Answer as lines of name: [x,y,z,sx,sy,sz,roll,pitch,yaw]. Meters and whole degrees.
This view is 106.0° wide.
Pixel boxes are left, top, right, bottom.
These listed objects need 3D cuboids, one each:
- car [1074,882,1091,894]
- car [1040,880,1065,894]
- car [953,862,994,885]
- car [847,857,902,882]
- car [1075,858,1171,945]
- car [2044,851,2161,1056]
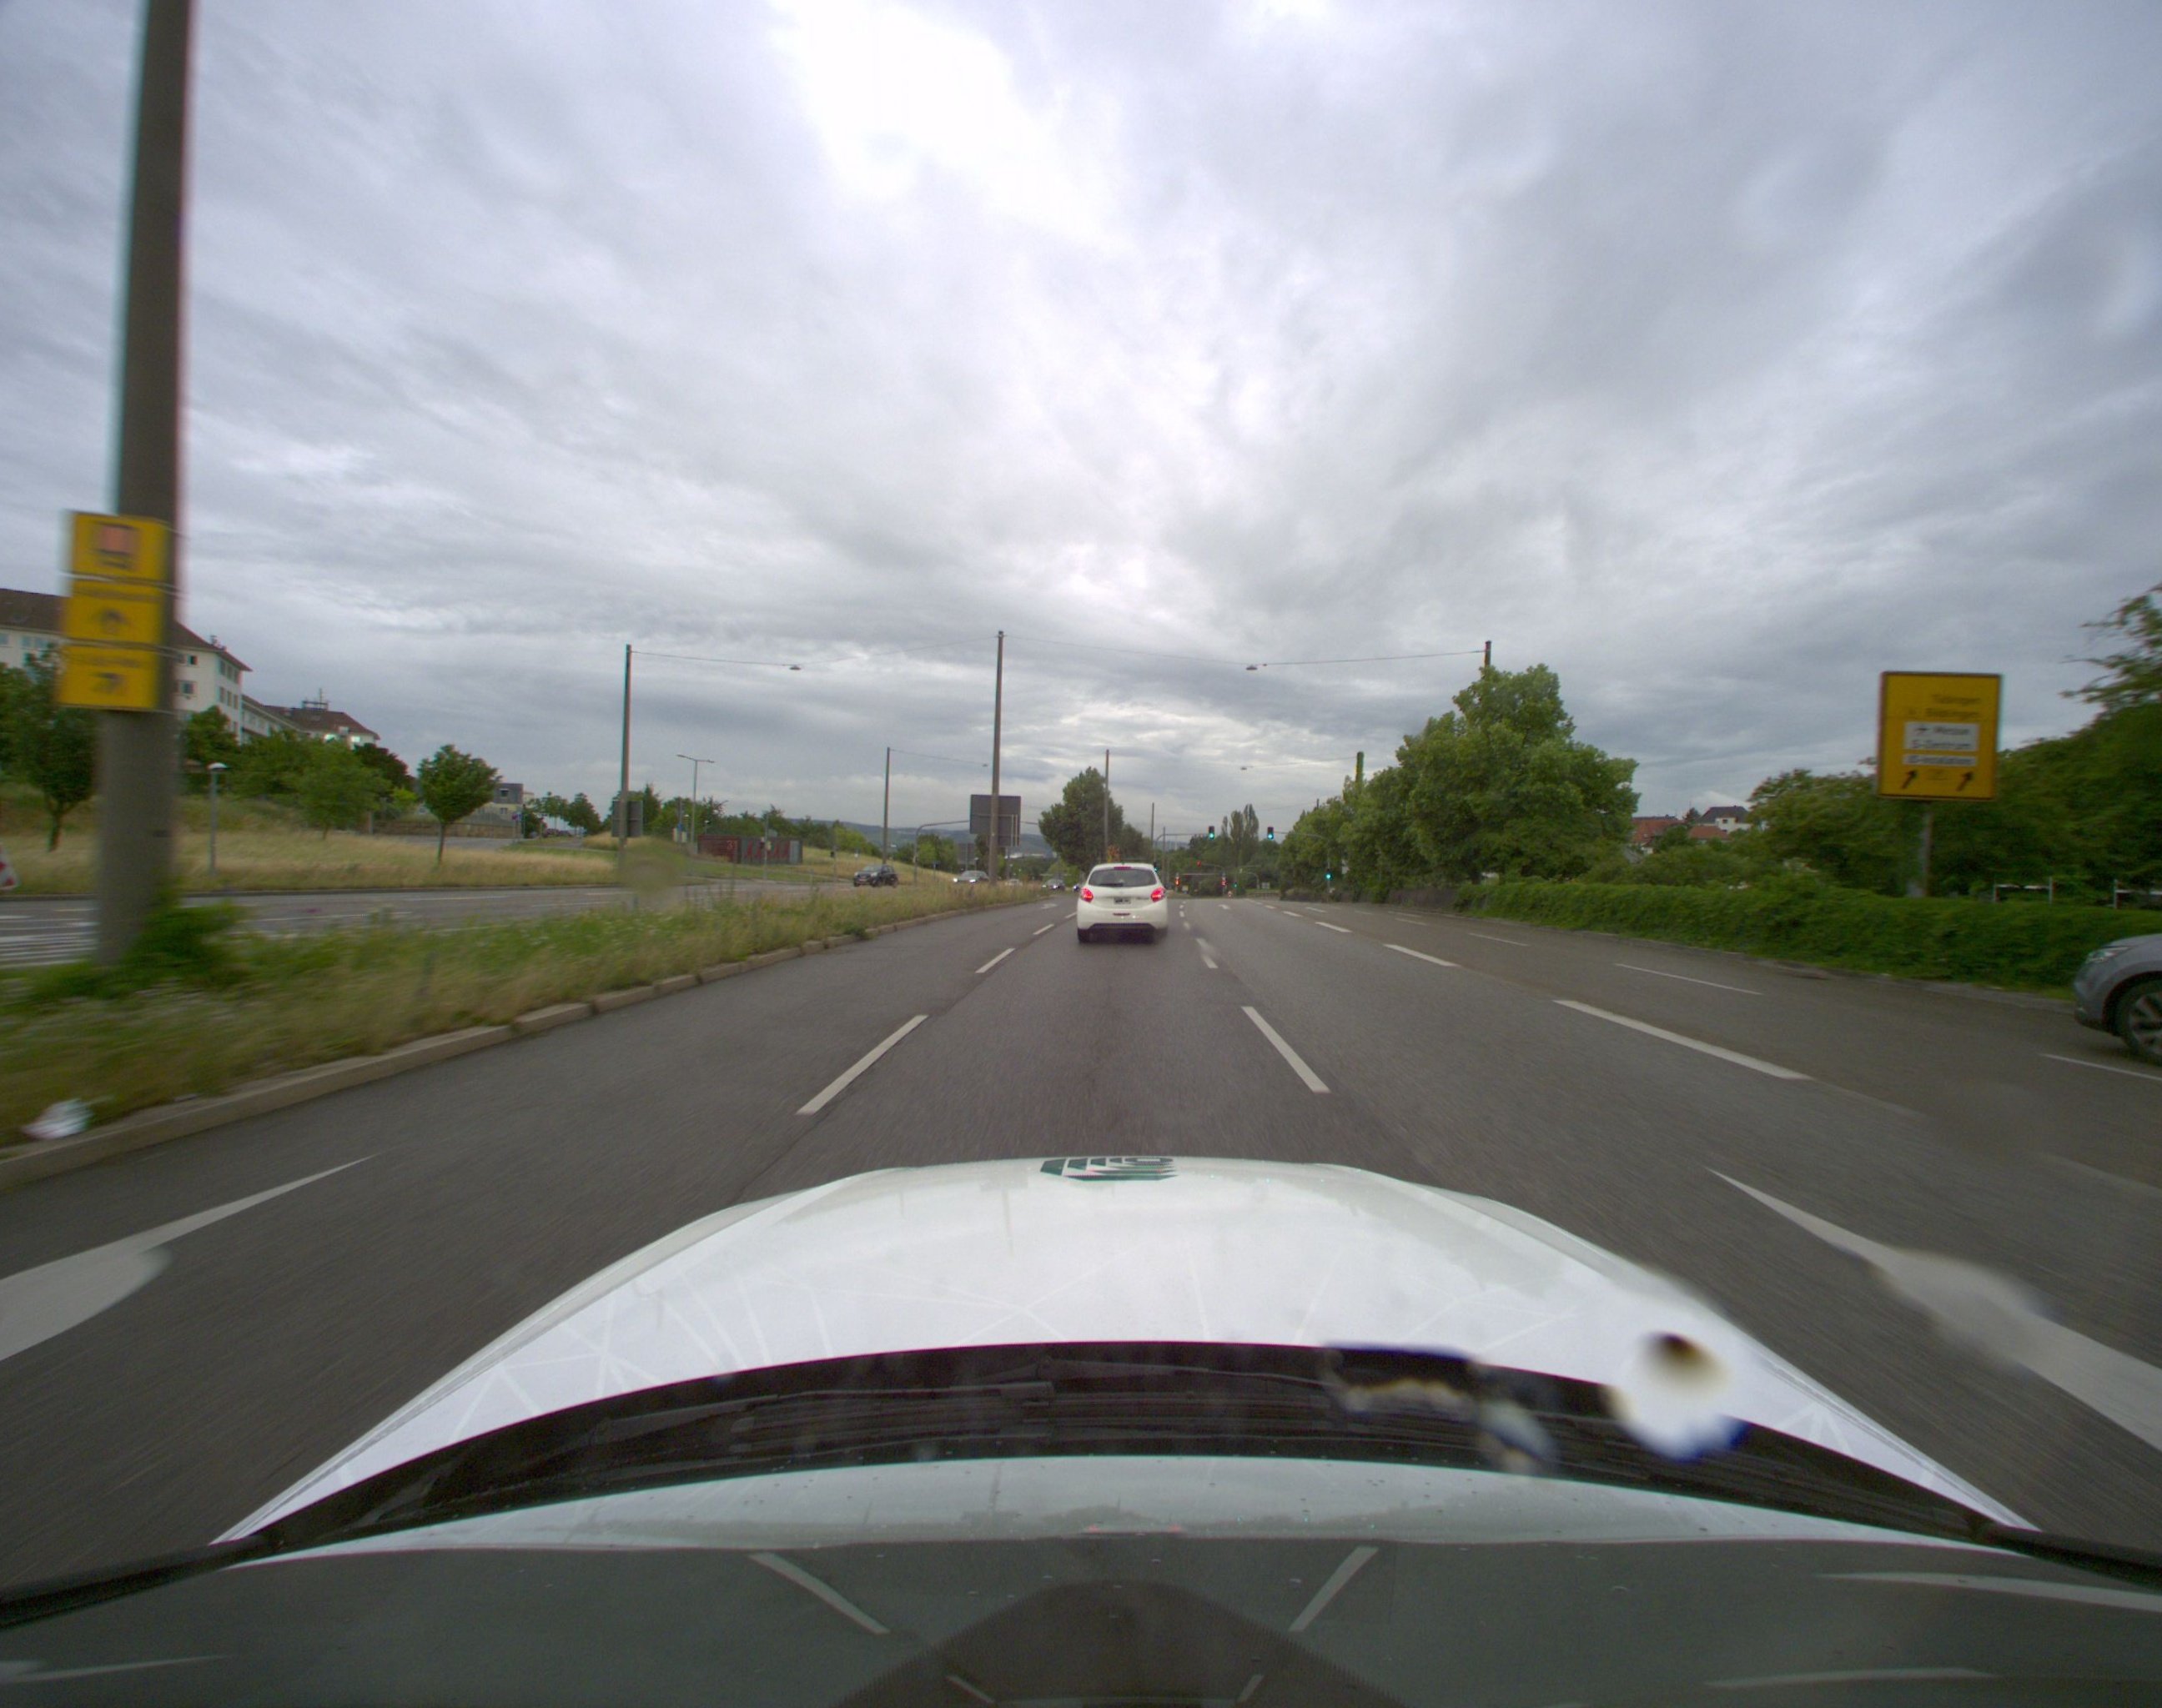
car: [0.209,4.469,107.022,1.529,1.504,3.671,1,-3,10]
car: [-3.007,3.577,88.037,1.740,1.504,4.475,1,-2,10]
car: [-7.903,1.479,60.268,1.756,1.518,4.010,1,-3,10]
car: [-12.916,1.015,51.211,1.756,1.384,4.010,1,-3,10]
car: [0.836,0.851,16.309,1.701,1.440,3.693,0,1,3]
car: [9.545,0.849,5.044,1.719,1.649,4.627,3,0,2]
